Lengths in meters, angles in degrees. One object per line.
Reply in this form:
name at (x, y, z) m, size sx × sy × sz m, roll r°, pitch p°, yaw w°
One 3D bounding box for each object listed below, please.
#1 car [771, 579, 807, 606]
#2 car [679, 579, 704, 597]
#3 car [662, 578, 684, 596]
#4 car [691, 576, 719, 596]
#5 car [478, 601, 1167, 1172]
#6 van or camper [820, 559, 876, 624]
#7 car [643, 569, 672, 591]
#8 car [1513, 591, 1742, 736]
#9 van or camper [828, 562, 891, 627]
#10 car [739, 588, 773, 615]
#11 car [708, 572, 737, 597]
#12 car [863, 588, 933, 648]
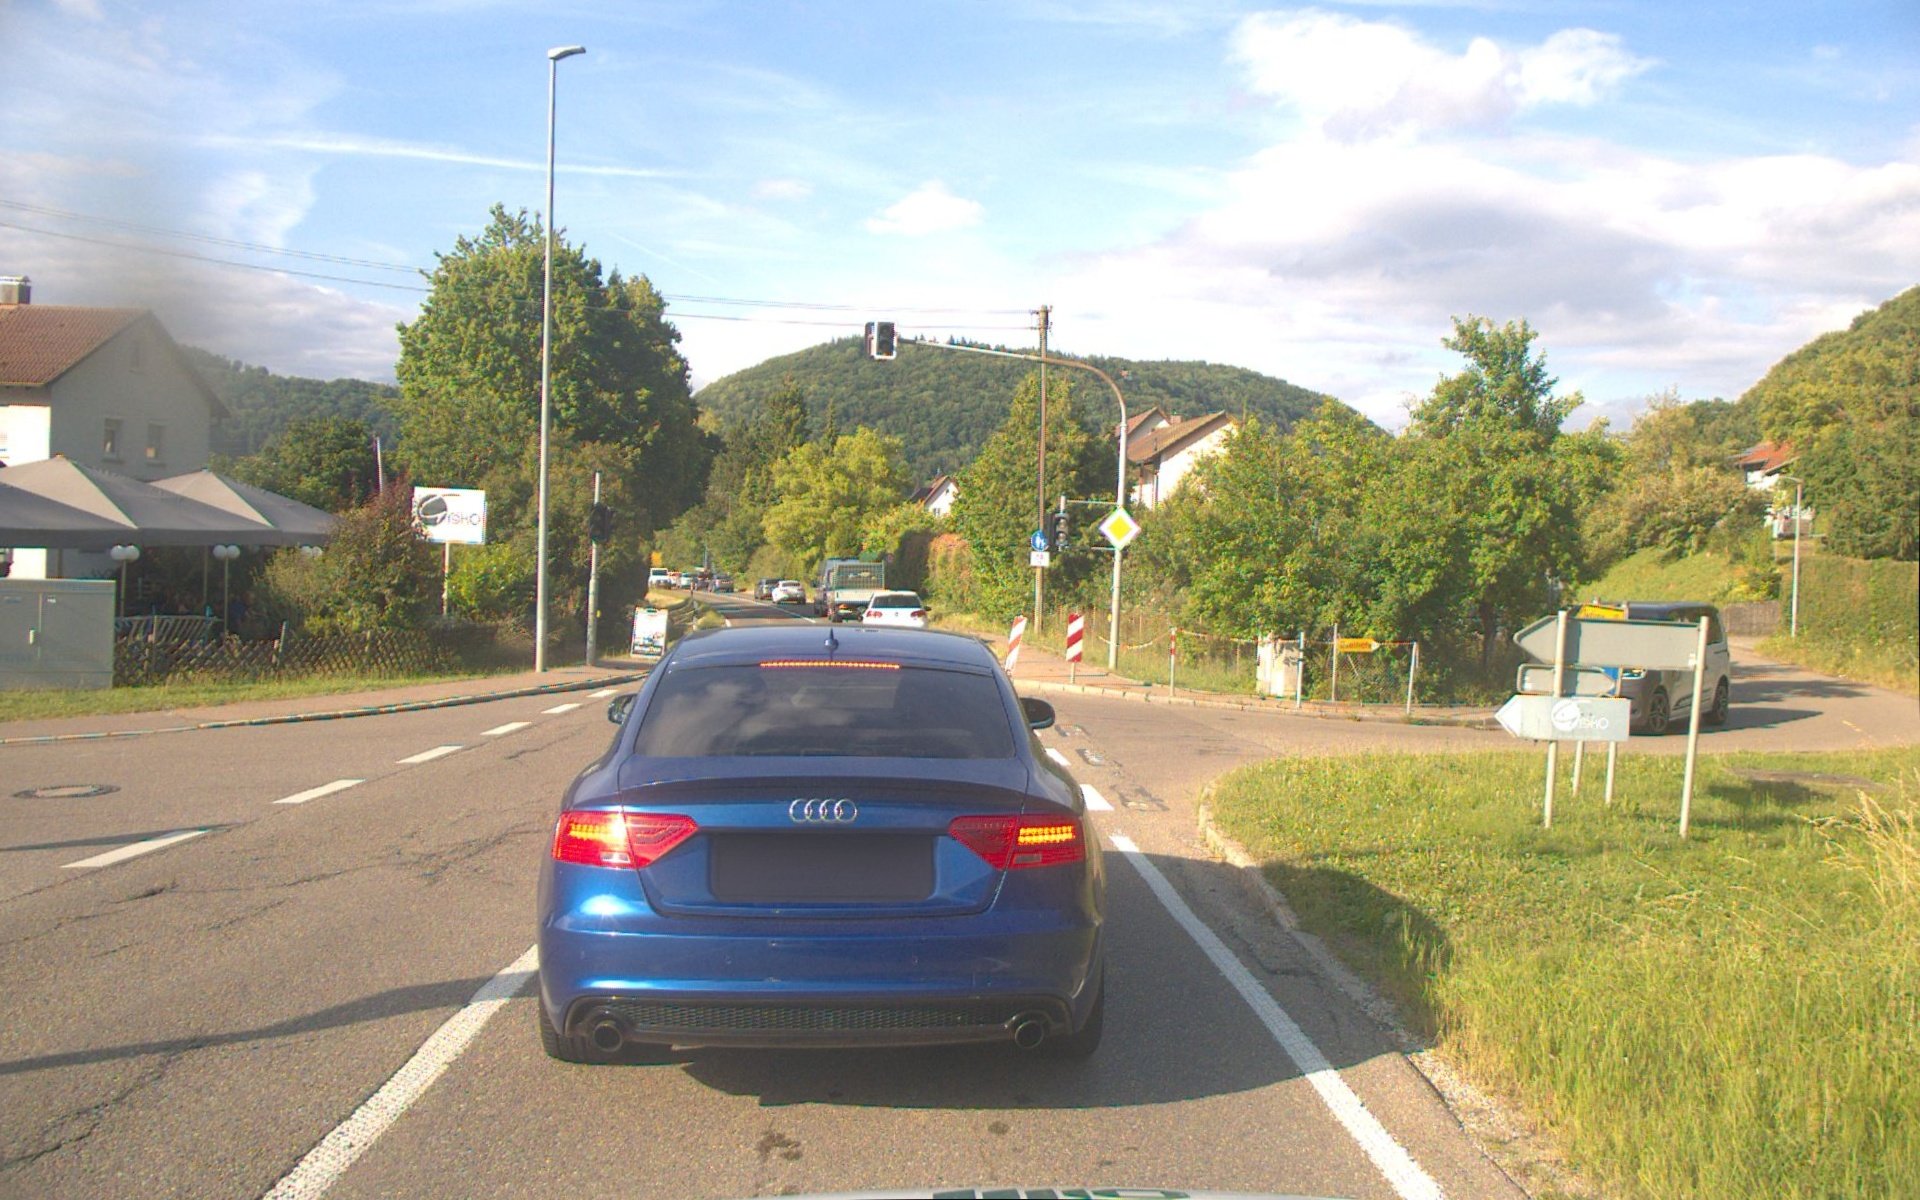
car at (-10.466, -0.491, 100.954) m, size 1.787 × 1.579 × 3.988 m, roll 0°, pitch 1°, yaw -12°
car at (-25.350, -1.149, 156.094) m, size 1.910 × 1.713 × 3.983 m, roll 0°, pitch 0°, yaw -16°
car at (-28.619, -1.300, 164.743) m, size 1.720 × 1.814 × 3.983 m, roll 0°, pitch 1°, yaw -16°
car at (-22.796, -1.277, 147.603) m, size 2.007 × 1.713 × 3.983 m, roll 0°, pitch 1°, yaw -16°
car at (-0.438, 0.745, 6.447) m, size 1.793 × 1.433 × 4.224 m, roll 0°, pitch 0°, yaw -2°
van or camper at (-5.374, -0.436, 78.570) m, size 2.369 × 2.955 × 6.123 m, roll 0°, pitch 1°, yaw -7°
car at (-27.380, -1.823, 149.426) m, size 1.962 × 1.937 × 5.228 m, roll -1°, pitch 1°, yaw -17°
car at (10.318, 0.906, 25.335) m, size 1.962 × 1.909 × 4.849 m, roll 3°, pitch 1°, yaw 38°
van or camper at (-3.977, -0.231, 64.547) m, size 2.138 × 2.426 × 5.362 m, roll 0°, pitch 1°, yaw -7°
car at (-13.880, 0.095, 112.396) m, size 1.766 × 1.825 × 3.985 m, roll 0°, pitch 1°, yaw -14°
car at (-19.908, -1.320, 138.521) m, size 1.960 × 2.049 × 3.985 m, roll 0°, pitch 1°, yaw -15°
car at (-1.648, 0.448, 44.233) m, size 1.736 × 1.439 × 4.172 m, roll 2°, pitch 0°, yaw -2°
